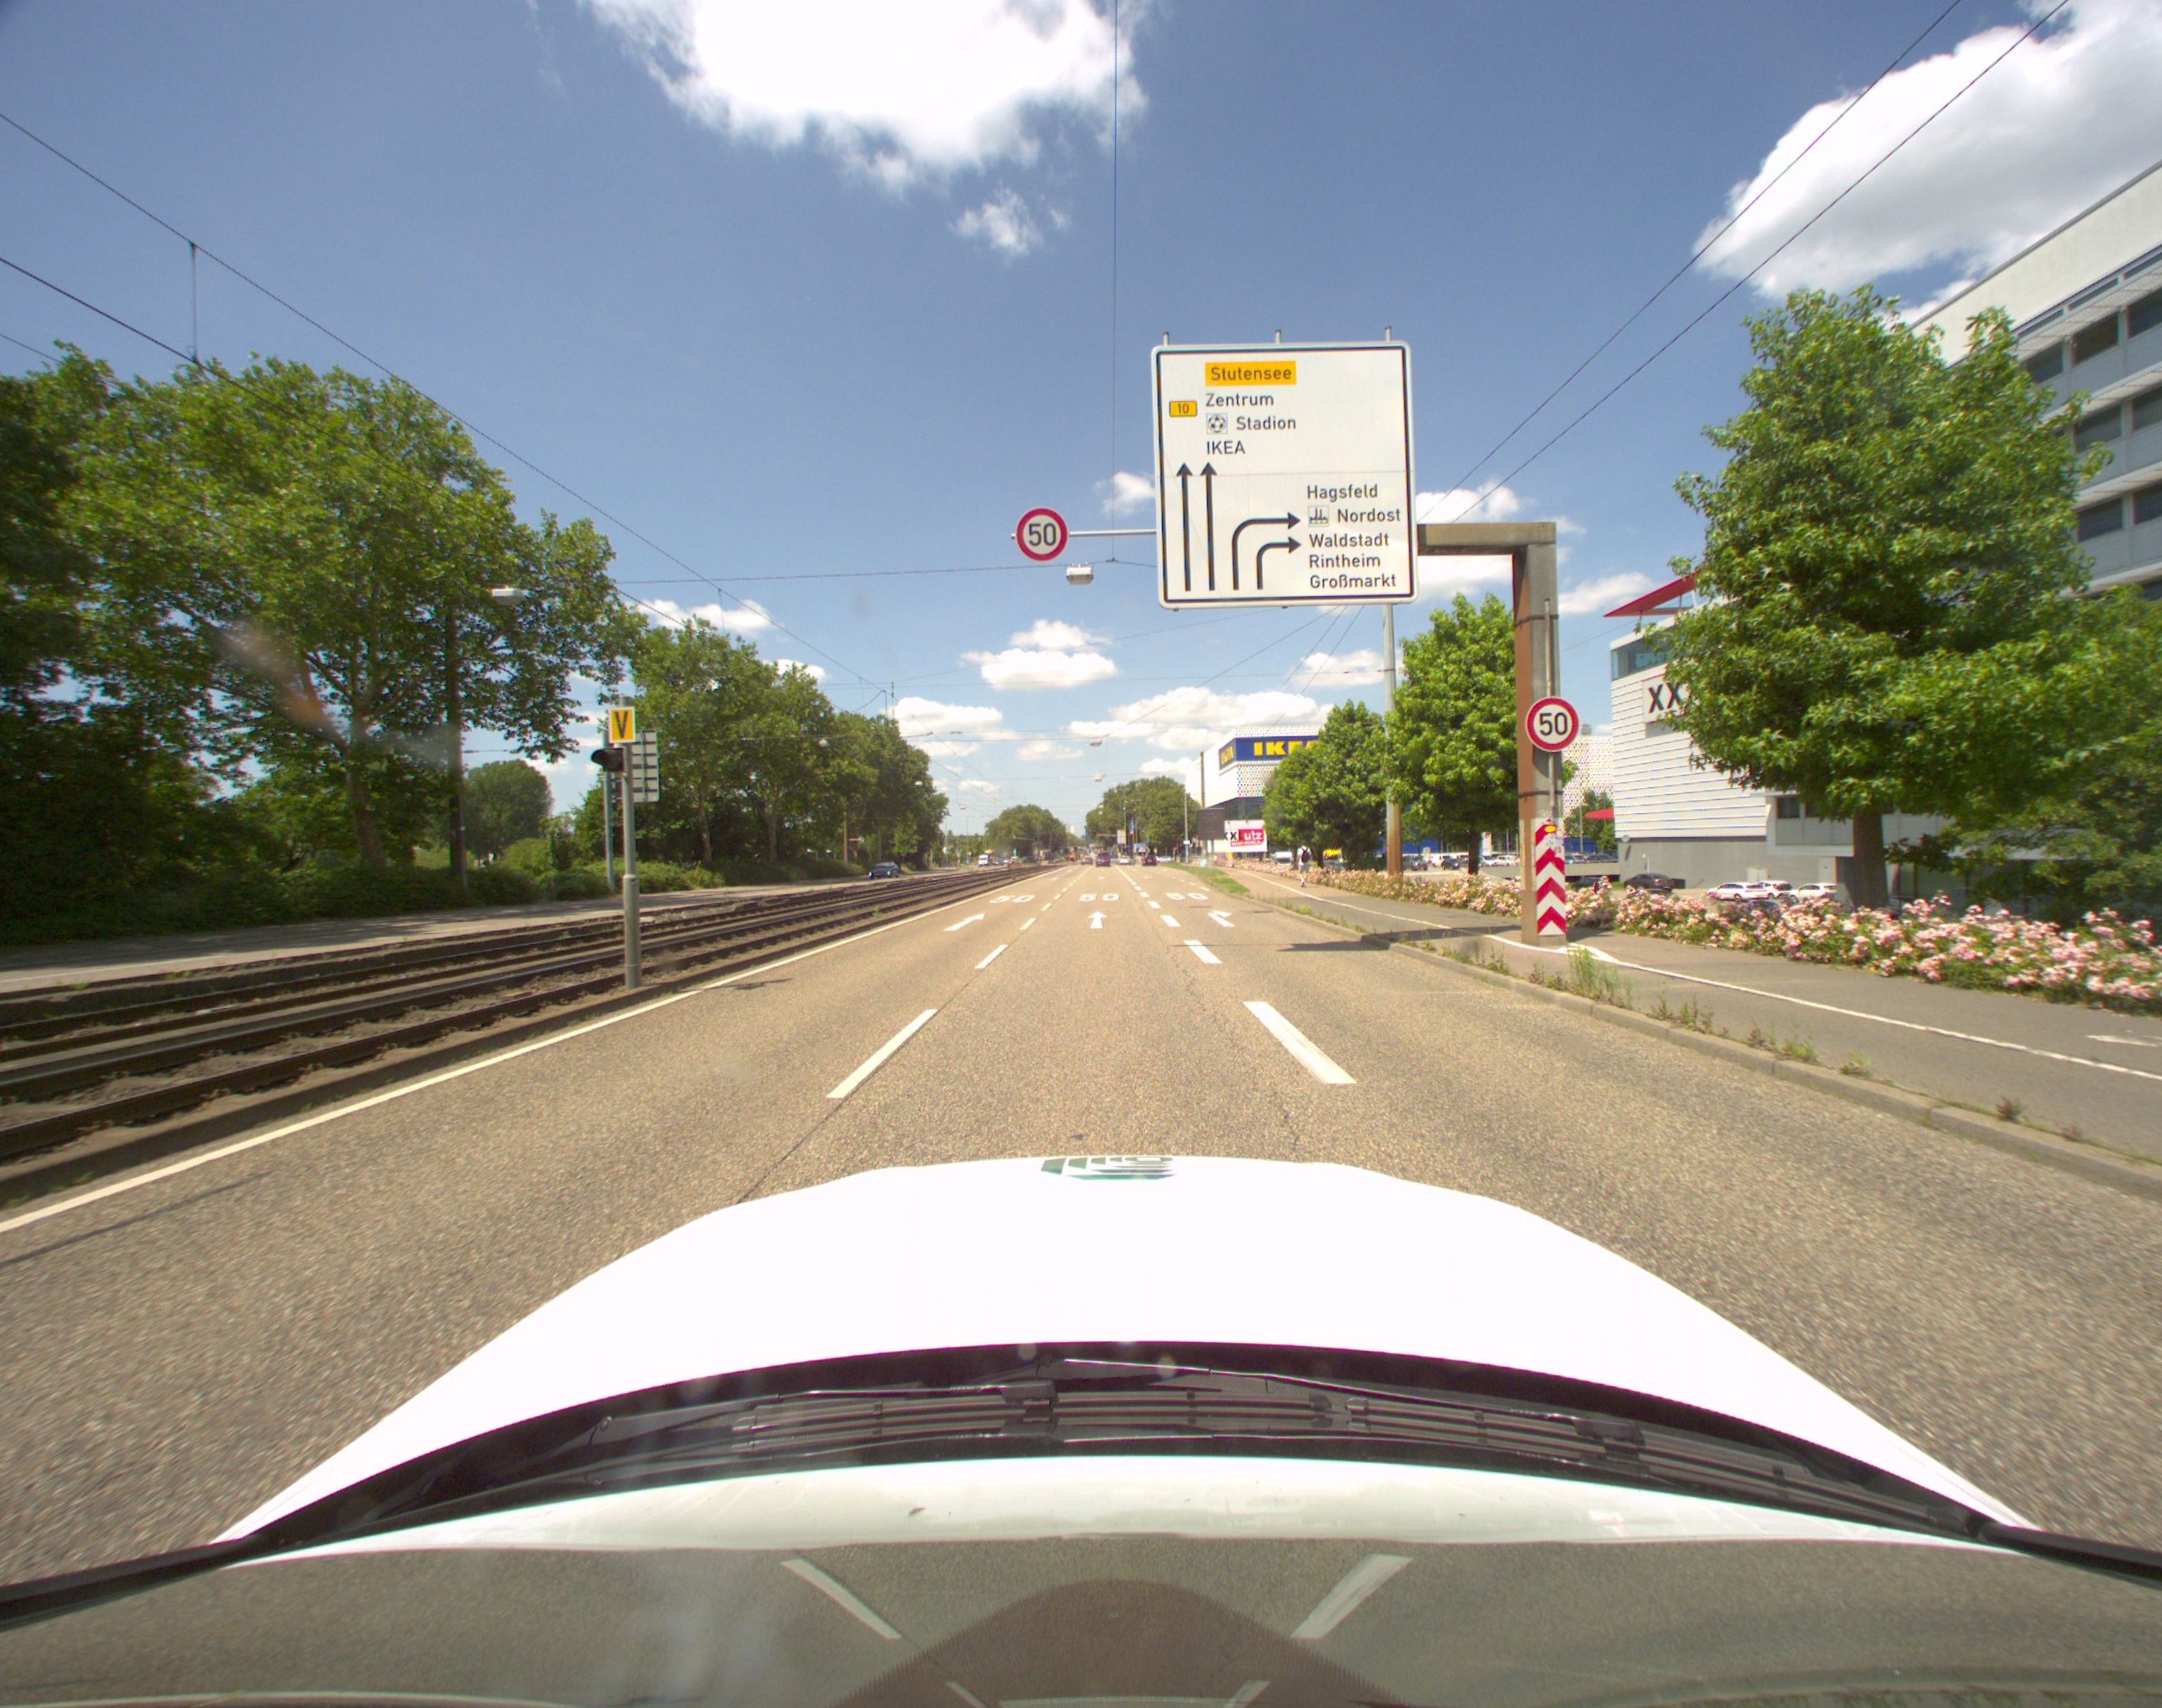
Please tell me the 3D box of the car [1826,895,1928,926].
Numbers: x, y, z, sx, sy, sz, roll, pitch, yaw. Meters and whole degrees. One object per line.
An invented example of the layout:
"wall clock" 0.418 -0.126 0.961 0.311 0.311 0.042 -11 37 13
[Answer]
"car" 45.648 3.199 46.836 1.735 1.483 4.238 0 0 0

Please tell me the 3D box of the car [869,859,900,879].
"car" -16.639 1.238 69.103 1.639 1.550 4.215 0 0 -1

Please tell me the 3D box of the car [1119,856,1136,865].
"car" 7.974 1.083 139.920 1.670 1.549 4.006 0 0 24

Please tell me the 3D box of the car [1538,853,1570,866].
"car" 55.922 0.651 96.318 1.566 1.483 3.888 0 0 0

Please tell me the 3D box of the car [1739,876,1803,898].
"car" 53.675 2.550 63.415 1.734 1.483 3.966 0 0 2

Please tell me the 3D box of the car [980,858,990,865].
"car" -21.803 1.766 184.996 1.617 1.549 3.704 0 0 1

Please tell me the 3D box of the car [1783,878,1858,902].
"car" 53.601 2.580 59.116 1.734 1.483 4.241 0 0 2

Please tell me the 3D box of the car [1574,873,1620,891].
"car" 46.978 2.514 74.230 1.734 1.483 3.966 0 0 2

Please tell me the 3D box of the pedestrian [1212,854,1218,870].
"pedestrian" 15.283 0.866 92.686 0.578 1.792 0.589 0 0 -1

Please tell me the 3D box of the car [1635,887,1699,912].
"car" 41.521 3.210 57.854 1.734 1.483 4.089 0 0 2

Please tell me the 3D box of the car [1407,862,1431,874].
"car" 44.385 1.888 107.091 1.566 1.483 3.888 0 0 0

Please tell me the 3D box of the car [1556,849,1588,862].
"car" 58.423 0.142 96.959 1.566 1.483 3.888 0 0 0

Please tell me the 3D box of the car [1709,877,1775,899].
"car" 50.865 2.620 62.758 1.734 1.483 4.241 0 0 2

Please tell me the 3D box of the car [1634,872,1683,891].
"car" 51.824 2.451 73.157 1.734 1.483 3.966 0 0 2

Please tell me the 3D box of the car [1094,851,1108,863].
"car" 2.656 0.399 108.732 1.869 1.539 3.777 0 0 1

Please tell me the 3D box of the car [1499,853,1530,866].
"car" 51.578 0.682 96.965 1.566 1.483 3.888 0 0 0

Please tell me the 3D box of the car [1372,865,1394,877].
"car" 39.675 2.176 107.078 1.566 1.483 3.888 0 0 0

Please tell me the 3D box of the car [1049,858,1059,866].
"car" -5.343 1.536 159.087 1.836 1.549 3.776 0 0 0

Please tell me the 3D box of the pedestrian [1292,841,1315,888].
"pedestrian" 8.732 0.407 31.979 0.666 1.792 0.925 0 0 3

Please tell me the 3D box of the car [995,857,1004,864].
"car" -18.528 1.566 185.674 1.617 1.549 3.704 0 0 1

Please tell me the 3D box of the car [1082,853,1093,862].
"car" 1.117 0.628 141.758 1.836 1.549 3.776 0 0 0

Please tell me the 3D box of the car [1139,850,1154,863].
"car" 9.228 0.364 115.155 1.892 1.805 3.978 0 0 2
